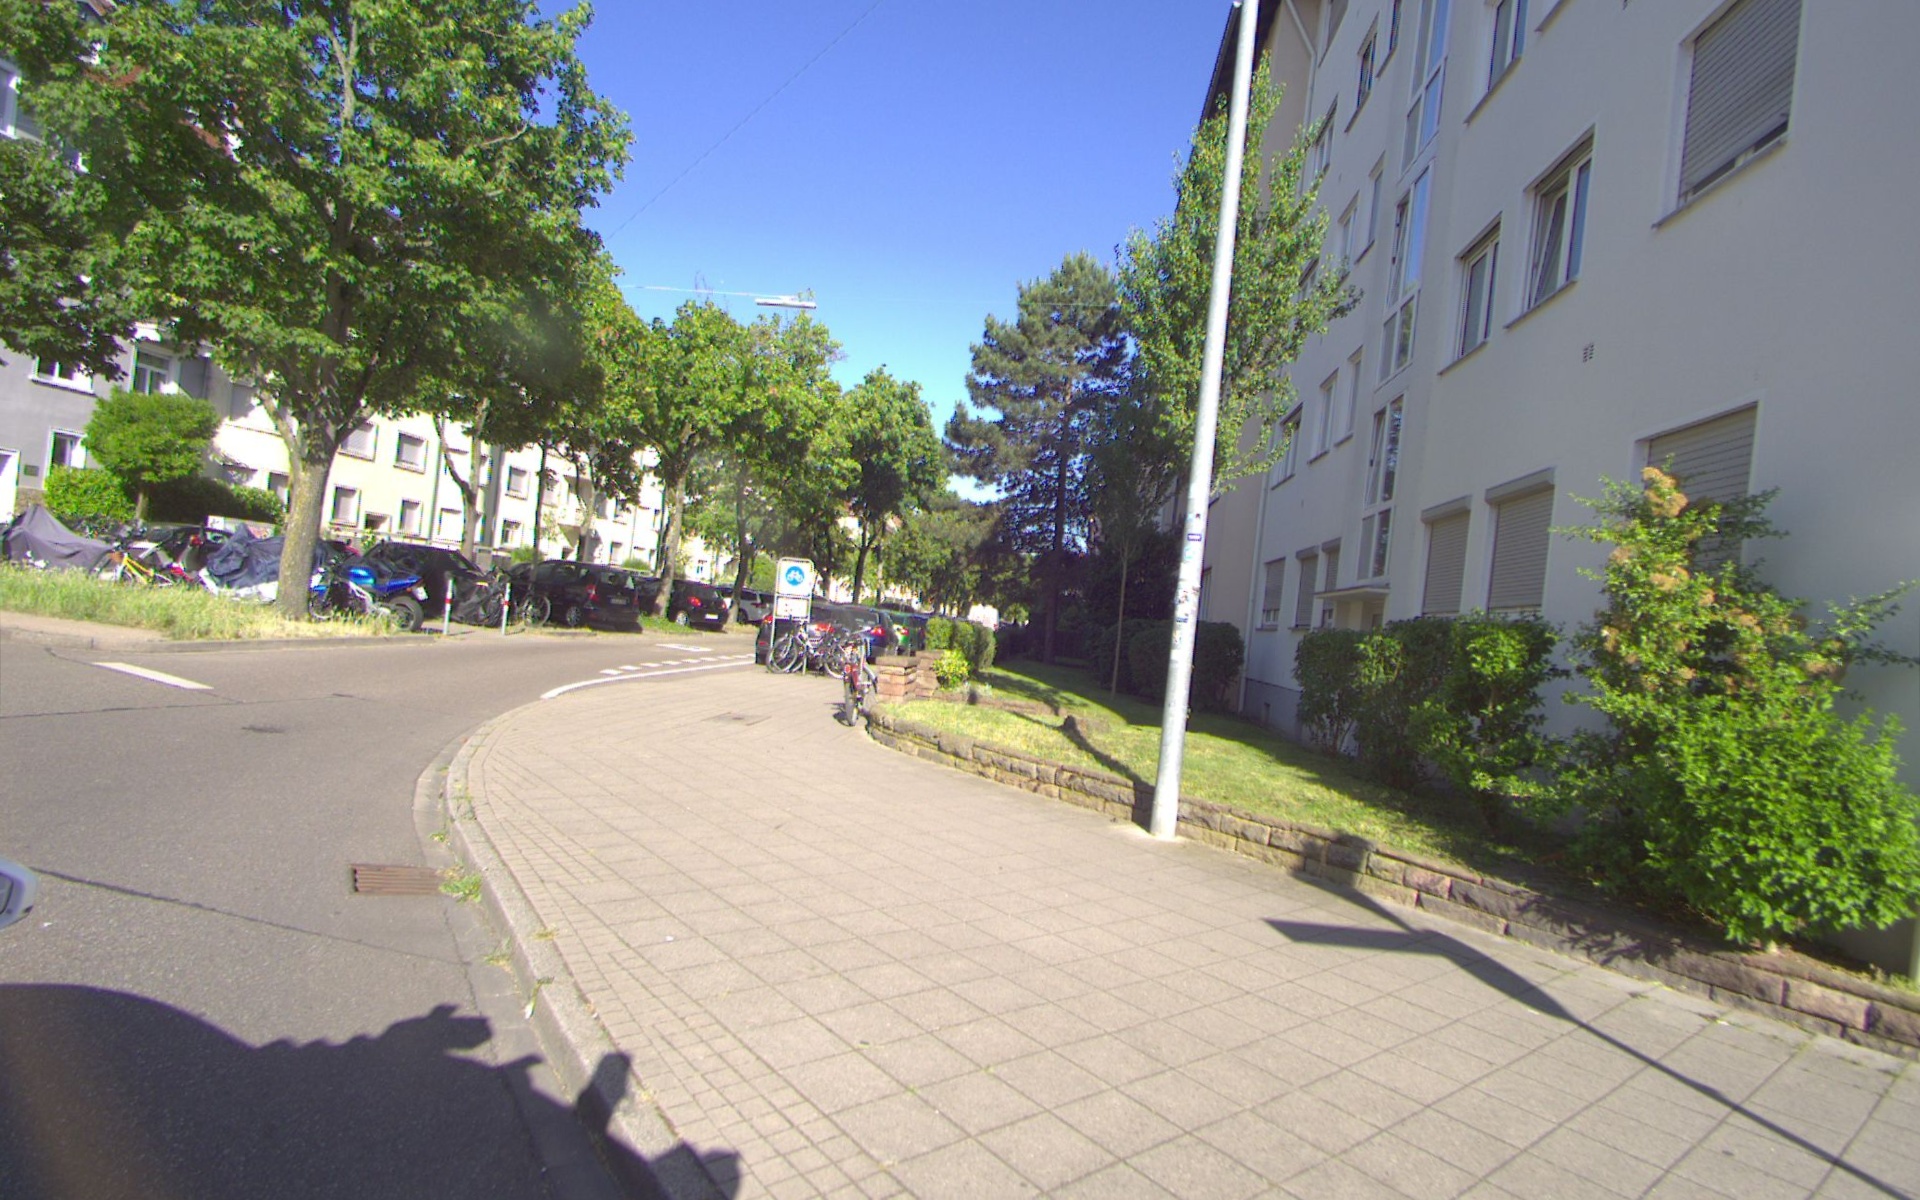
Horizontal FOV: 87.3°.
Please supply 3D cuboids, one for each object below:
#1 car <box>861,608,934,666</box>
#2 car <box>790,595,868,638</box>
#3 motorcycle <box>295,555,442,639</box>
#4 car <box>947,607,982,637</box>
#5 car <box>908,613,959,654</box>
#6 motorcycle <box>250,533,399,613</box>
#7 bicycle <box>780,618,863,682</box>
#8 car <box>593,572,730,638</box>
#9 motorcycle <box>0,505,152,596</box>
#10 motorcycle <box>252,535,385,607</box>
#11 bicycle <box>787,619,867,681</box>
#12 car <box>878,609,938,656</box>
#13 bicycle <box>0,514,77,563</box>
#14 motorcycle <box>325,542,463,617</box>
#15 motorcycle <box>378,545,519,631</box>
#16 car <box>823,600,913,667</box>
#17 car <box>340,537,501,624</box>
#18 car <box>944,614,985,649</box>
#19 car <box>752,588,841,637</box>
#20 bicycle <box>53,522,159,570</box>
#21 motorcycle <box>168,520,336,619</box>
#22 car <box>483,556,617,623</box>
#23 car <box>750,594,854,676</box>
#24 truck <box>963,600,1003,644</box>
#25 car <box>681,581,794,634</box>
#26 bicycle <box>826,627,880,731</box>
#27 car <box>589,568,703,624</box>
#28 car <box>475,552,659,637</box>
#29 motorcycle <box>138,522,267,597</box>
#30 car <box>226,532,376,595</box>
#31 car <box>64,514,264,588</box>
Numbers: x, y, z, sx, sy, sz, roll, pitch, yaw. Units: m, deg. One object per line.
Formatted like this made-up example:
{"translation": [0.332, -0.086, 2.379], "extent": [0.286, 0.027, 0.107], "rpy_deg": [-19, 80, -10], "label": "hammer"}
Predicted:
{"translation": [-2.039, 1.201, 33.763], "extent": [1.752, 1.523, 4.001], "rpy_deg": [11, 0, 3], "label": "car"}
{"translation": [-6.795, 0.847, 51.867], "extent": [1.875, 1.744, 3.950], "rpy_deg": [7, -1, -44], "label": "car"}
{"translation": [-9.530, -0.039, 16.248], "extent": [1.810, 1.086, 0.814], "rpy_deg": [8, 0, 6], "label": "motorcycle"}
{"translation": [0.307, 1.347, 61.198], "extent": [1.751, 1.502, 4.004], "rpy_deg": [8, -2, 3], "label": "car"}
{"translation": [-1.134, 1.468, 44.813], "extent": [1.751, 1.503, 4.001], "rpy_deg": [8, -1, 3], "label": "car"}
{"translation": [-12.552, -0.509, 19.920], "extent": [2.199, 1.283, 1.052], "rpy_deg": [7, 0, 6], "label": "motorcycle"}
{"translation": [-2.593, 0.931, 18.847], "extent": [1.422, 1.070, 0.331], "rpy_deg": [4, 0, 4], "label": "bicycle"}
{"translation": [-9.526, 0.152, 32.081], "extent": [3.932, 1.617, 1.877], "rpy_deg": [6, -1, 29], "label": "car"}
{"translation": [-15.451, -0.875, 16.907], "extent": [2.732, 1.283, 1.127], "rpy_deg": [7, 0, 0], "label": "motorcycle"}
{"translation": [-14.080, -0.631, 22.122], "extent": [2.199, 1.283, 1.052], "rpy_deg": [7, 0, 6], "label": "motorcycle"}
{"translation": [-2.554, 0.952, 19.319], "extent": [1.422, 1.070, 0.331], "rpy_deg": [4, 0, 4], "label": "bicycle"}
{"translation": [-1.991, 1.253, 39.489], "extent": [1.751, 1.503, 4.001], "rpy_deg": [8, -1, 3], "label": "car"}
{"translation": [-23.653, -1.566, 25.243], "extent": [0.670, 1.072, 2.258], "rpy_deg": [6, -1, 8], "label": "bicycle"}
{"translation": [-11.807, -0.416, 21.040], "extent": [2.199, 1.283, 1.052], "rpy_deg": [7, 0, 6], "label": "motorcycle"}
{"translation": [-10.031, -0.223, 19.787], "extent": [2.087, 1.409, 1.063], "rpy_deg": [7, 0, 4], "label": "motorcycle"}
{"translation": [-2.471, 0.904, 27.962], "extent": [1.751, 1.503, 4.001], "rpy_deg": [8, -1, 3], "label": "car"}
{"translation": [-13.180, -0.501, 24.527], "extent": [3.815, 1.660, 1.799], "rpy_deg": [6, 0, 34], "label": "car"}
{"translation": [0.266, 1.588, 51.894], "extent": [1.751, 1.503, 4.001], "rpy_deg": [8, -1, 3], "label": "car"}
{"translation": [-7.382, 0.535, 45.232], "extent": [1.875, 1.744, 3.950], "rpy_deg": [7, -1, -44], "label": "car"}
{"translation": [-23.473, -1.454, 27.715], "extent": [0.670, 1.072, 2.258], "rpy_deg": [6, -1, 8], "label": "bicycle"}
{"translation": [-11.506, -0.476, 16.388], "extent": [2.015, 1.344, 0.863], "rpy_deg": [7, 0, 2], "label": "motorcycle"}
{"translation": [-12.671, -0.337, 31.064], "extent": [3.933, 1.610, 1.704], "rpy_deg": [6, 0, 31], "label": "car"}
{"translation": [-3.399, 0.721, 22.319], "extent": [1.800, 1.428, 3.997], "rpy_deg": [8, -1, -5], "label": "car"}
{"translation": [1.684, 1.578, 72.023], "extent": [2.366, 2.708, 5.909], "rpy_deg": [8, 0, 3], "label": "truck"}
{"translation": [-8.580, 0.287, 38.712], "extent": [3.931, 1.567, 1.779], "rpy_deg": [6, 0, 28], "label": "car"}
{"translation": [-1.235, 0.883, 11.792], "extent": [0.377, 1.092, 1.625], "rpy_deg": [4, -1, 0], "label": "bicycle"}
{"translation": [-11.892, -0.162, 38.091], "extent": [3.933, 1.610, 1.883], "rpy_deg": [6, -1, 31], "label": "car"}
{"translation": [-9.867, -0.135, 25.292], "extent": [3.928, 1.617, 2.000], "rpy_deg": [6, -1, 24], "label": "car"}
{"translation": [-15.169, -0.802, 20.180], "extent": [1.858, 1.252, 0.890], "rpy_deg": [7, 0, 6], "label": "motorcycle"}
{"translation": [-19.846, -1.056, 30.497], "extent": [1.720, 1.462, 3.856], "rpy_deg": [7, -1, 4], "label": "car"}
{"translation": [-20.135, -1.175, 25.695], "extent": [1.720, 1.463, 3.958], "rpy_deg": [5, -1, 4], "label": "car"}
